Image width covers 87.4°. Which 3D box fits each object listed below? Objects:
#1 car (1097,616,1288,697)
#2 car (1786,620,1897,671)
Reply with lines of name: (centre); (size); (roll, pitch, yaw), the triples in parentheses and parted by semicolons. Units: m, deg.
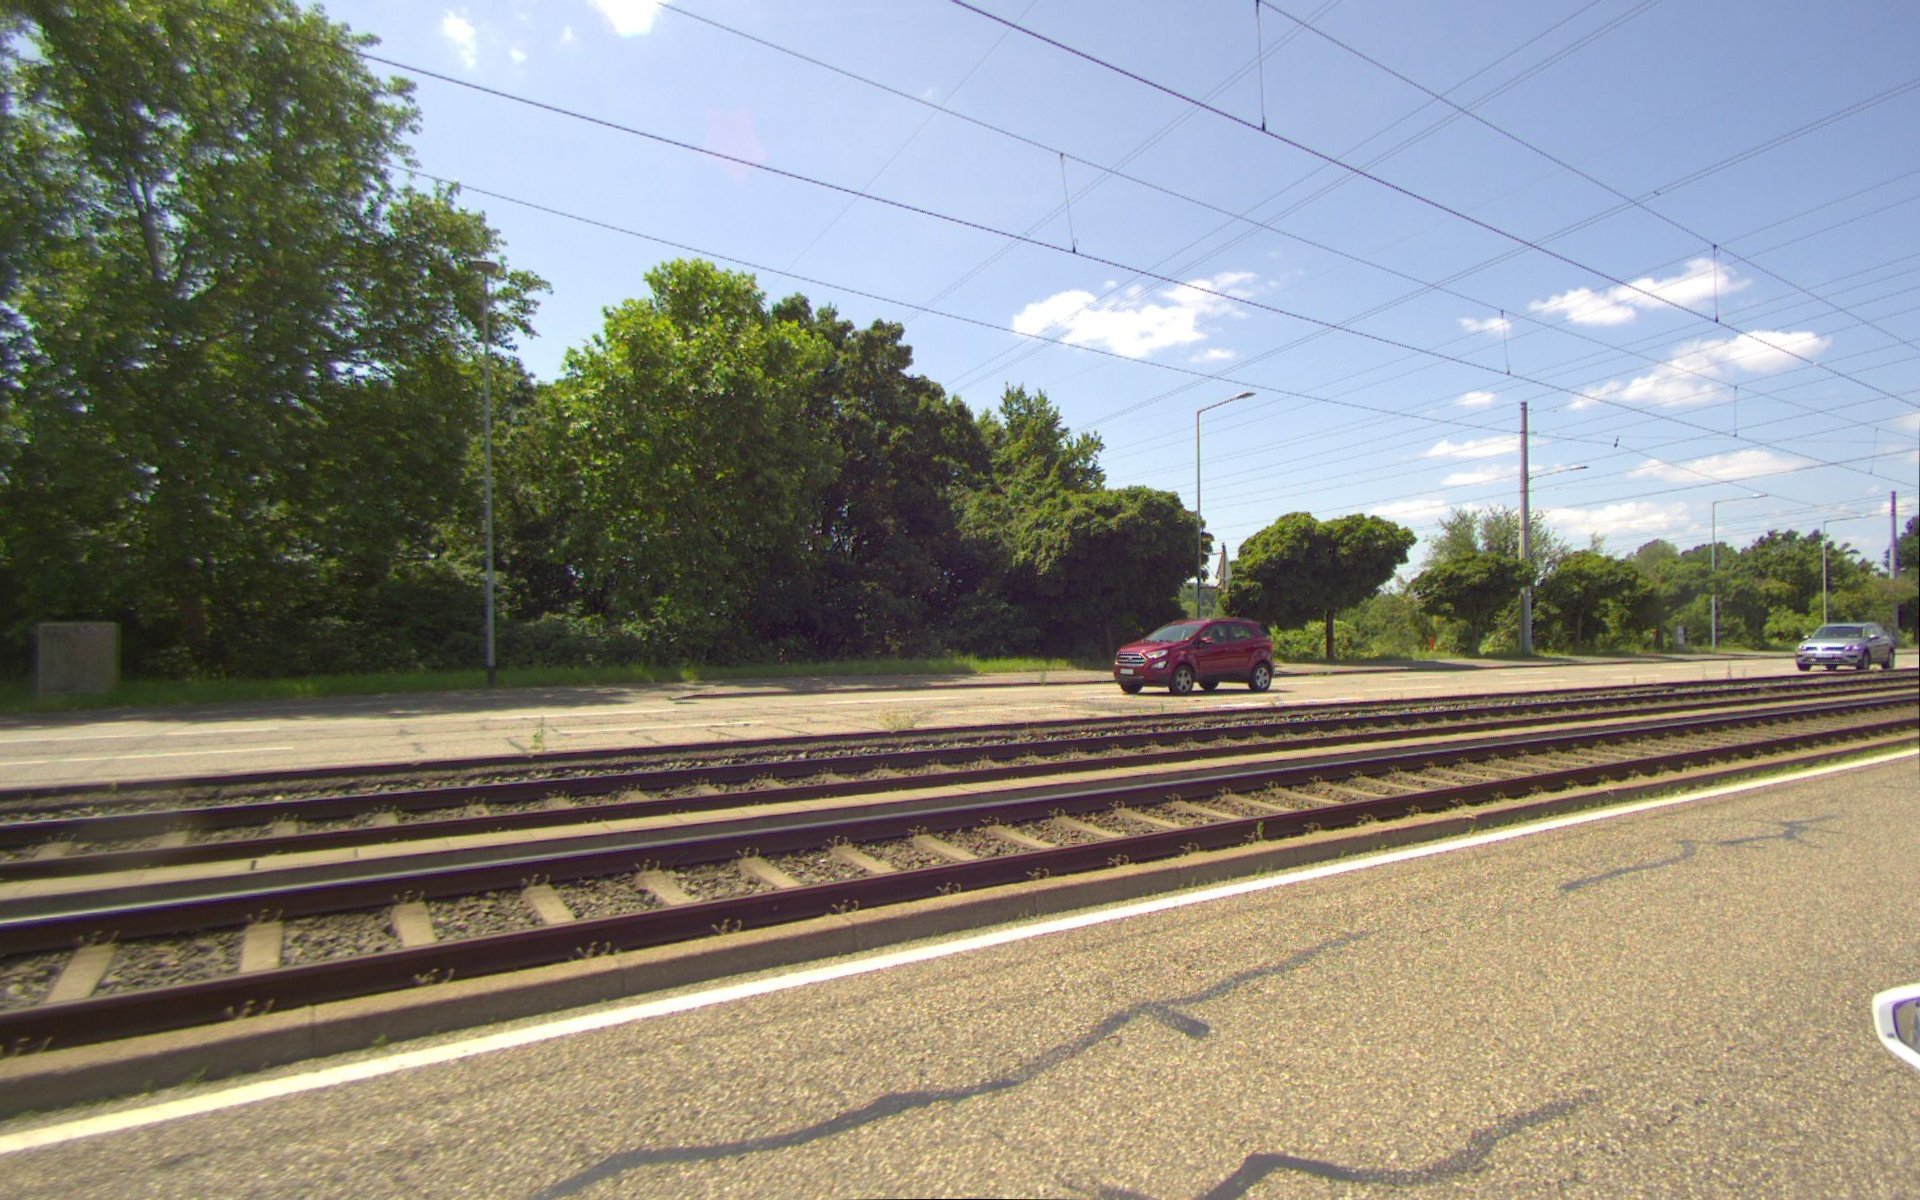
car: (5.236, 1.223, 22.448); (4.167, 1.646, 1.791); (1, -3, -34)
car: (30.663, 1.556, 34.909); (4.447, 1.646, 1.791); (1, -3, -34)
